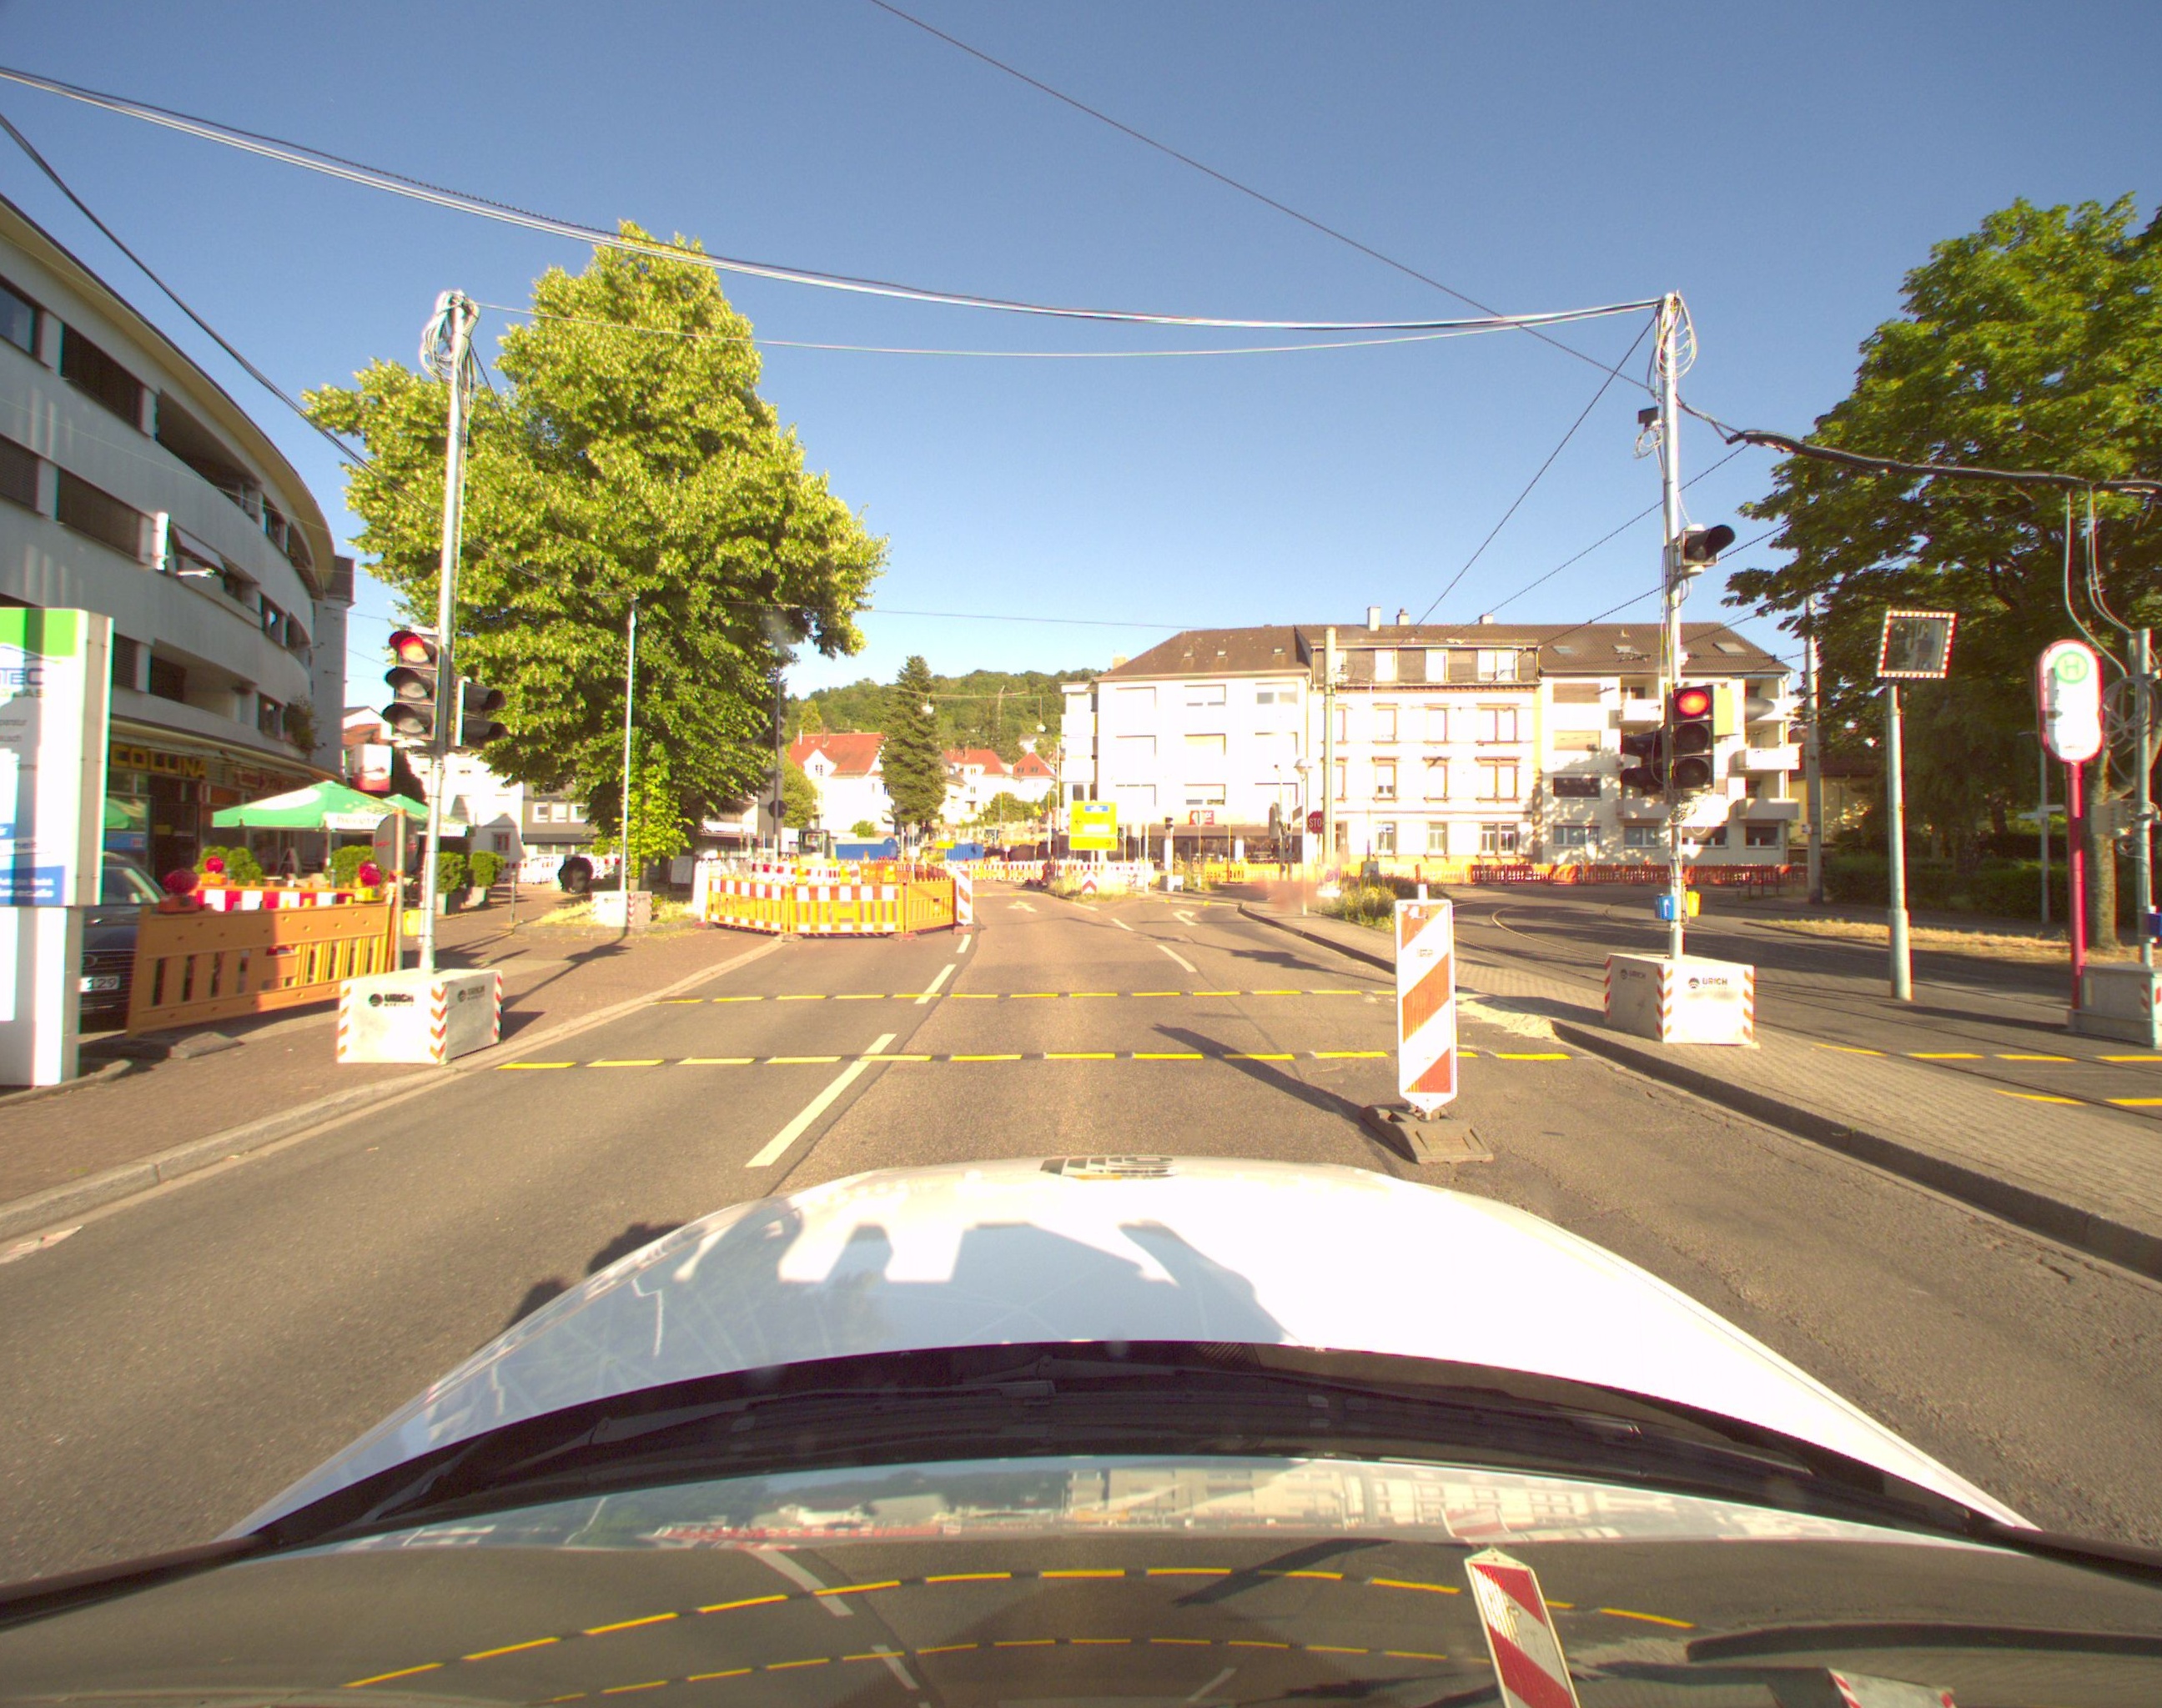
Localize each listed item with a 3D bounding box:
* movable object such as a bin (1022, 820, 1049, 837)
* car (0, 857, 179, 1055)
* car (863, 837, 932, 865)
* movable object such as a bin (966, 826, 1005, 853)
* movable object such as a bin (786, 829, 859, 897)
[{"bbox_3d":[-6.419,-3.593,115.290,2.549,2.122,5.801,-1,-1,11],"label":"movable object such as a bin"},{"bbox_3d":[-9.317,0.780,7.306,3.835,1.438,1.606,-1,0,42],"label":"car"},{"bbox_3d":[-14.934,-0.227,66.701,2.562,2.121,6.181,-1,-1,20],"label":"car"},{"bbox_3d":[-9.240,-1.347,79.390,1.932,2.494,4.574,-1,-1,20],"label":"movable object such as a bin"},{"bbox_3d":[-9.395,0.301,29.872,1.643,2.324,3.916,0,0,-3],"label":"movable object such as a bin"}]
